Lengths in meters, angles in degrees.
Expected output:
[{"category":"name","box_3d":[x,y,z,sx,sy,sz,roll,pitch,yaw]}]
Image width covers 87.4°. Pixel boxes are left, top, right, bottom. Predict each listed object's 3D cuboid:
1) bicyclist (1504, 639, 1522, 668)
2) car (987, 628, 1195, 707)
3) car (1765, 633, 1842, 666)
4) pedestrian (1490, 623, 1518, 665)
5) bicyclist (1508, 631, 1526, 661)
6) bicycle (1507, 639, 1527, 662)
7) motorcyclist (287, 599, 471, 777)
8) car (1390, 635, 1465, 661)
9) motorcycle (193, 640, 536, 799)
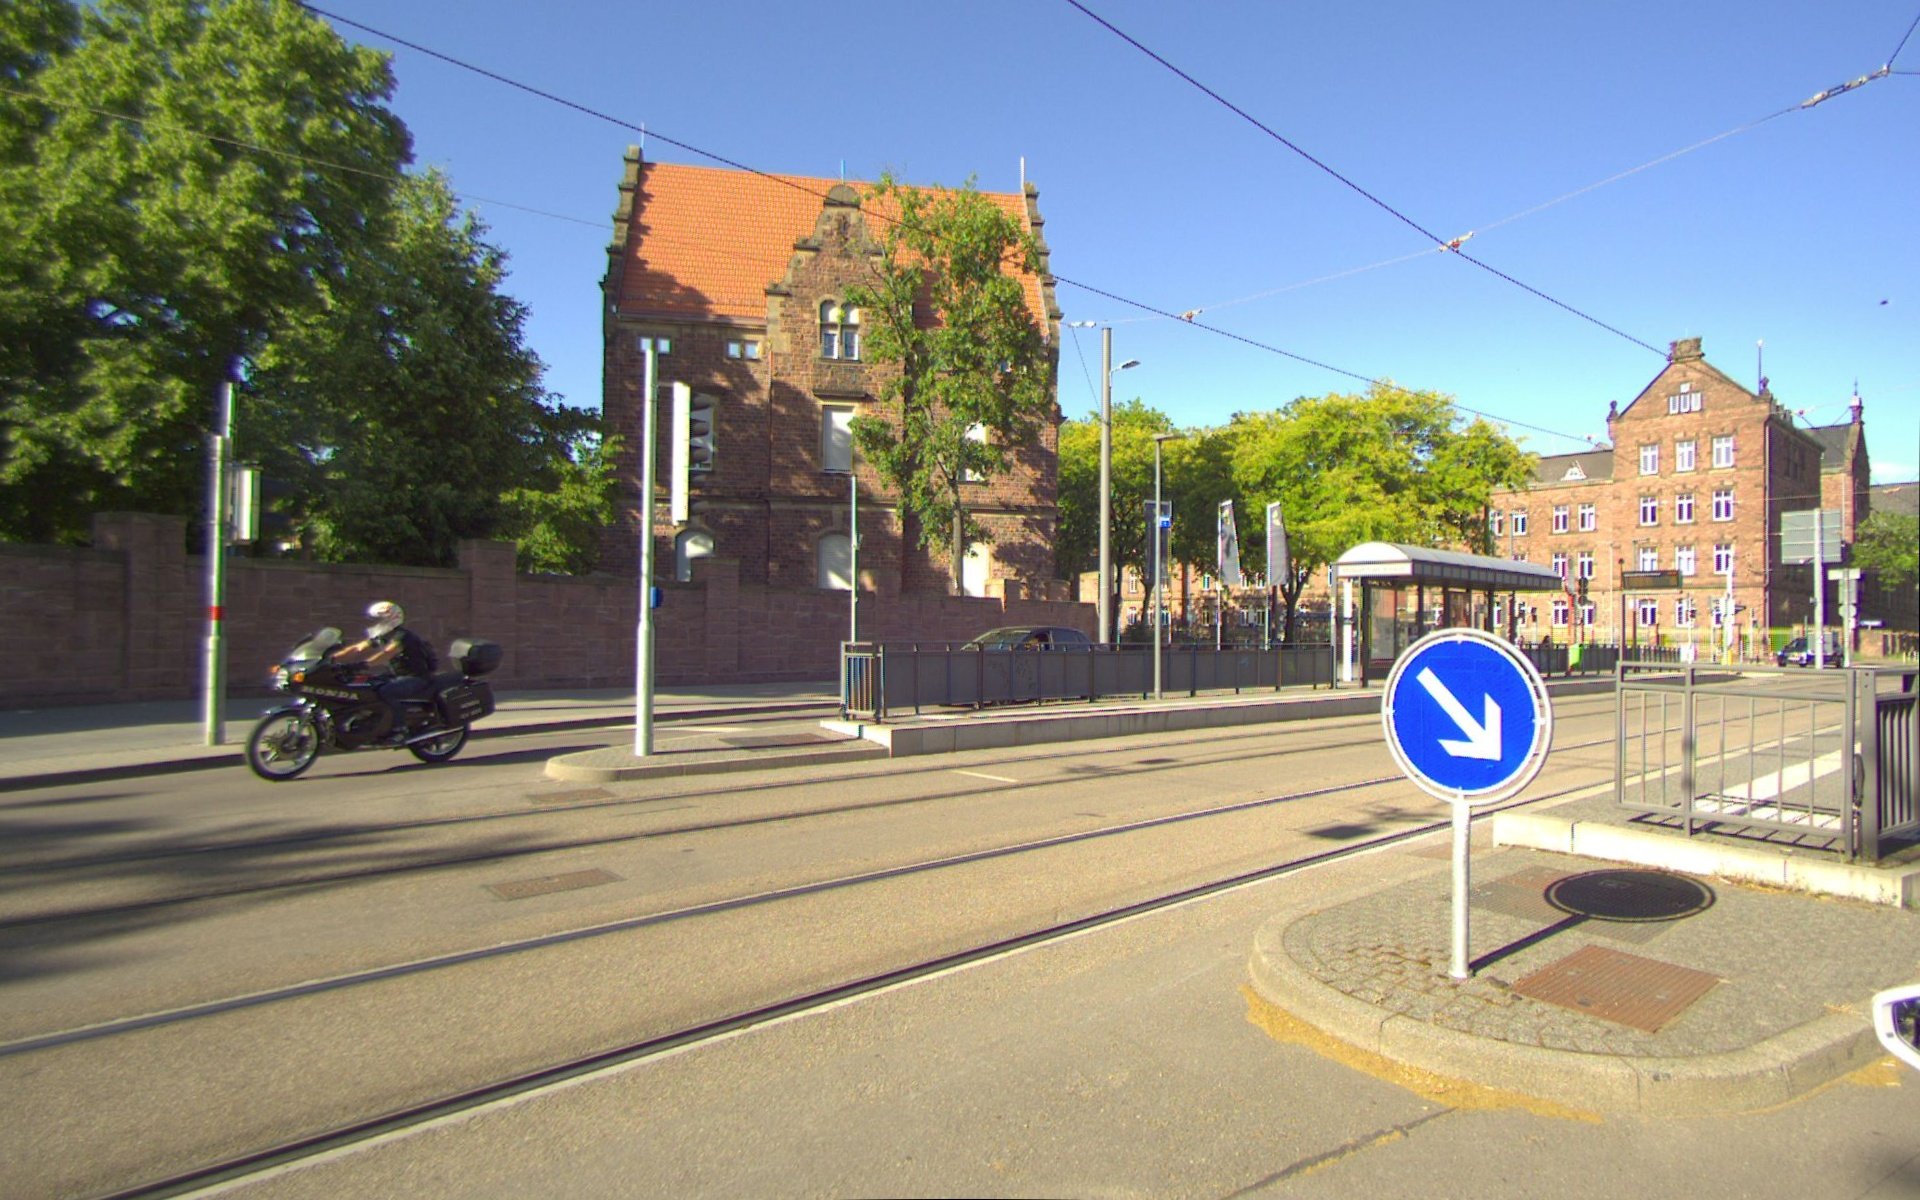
[{"category":"bicyclist","box_3d":[32.024,3.084,58.188,0.795,1.657,0.629,2,-2,-40]},{"category":"car","box_3d":[2.652,1.313,20.041,3.945,1.421,1.842,2,-4,-37]},{"category":"car","box_3d":[45.608,2.669,54.278,4.308,1.699,1.897,2,-2,-31]},{"category":"pedestrian","box_3d":[24.796,2.018,45.809,1.086,1.885,0.721,2,-2,-37]},{"category":"bicyclist","box_3d":[26.647,2.209,48.071,0.678,1.402,0.534,1,-1,25]},{"category":"bicycle","box_3d":[26.637,2.409,48.056,0.680,1.063,1.668,1,-2,24]},{"category":"motorcyclist","box_3d":[-5.497,0.787,9.534,1.108,1.545,1.053,1,-1,30]},{"category":"car","box_3d":[30.094,3.106,64.742,1.860,1.542,4.035,2,-2,-37]},{"category":"motorcycle","box_3d":[-5.499,1.023,9.523,1.113,1.260,2.569,1,-2,29]}]
